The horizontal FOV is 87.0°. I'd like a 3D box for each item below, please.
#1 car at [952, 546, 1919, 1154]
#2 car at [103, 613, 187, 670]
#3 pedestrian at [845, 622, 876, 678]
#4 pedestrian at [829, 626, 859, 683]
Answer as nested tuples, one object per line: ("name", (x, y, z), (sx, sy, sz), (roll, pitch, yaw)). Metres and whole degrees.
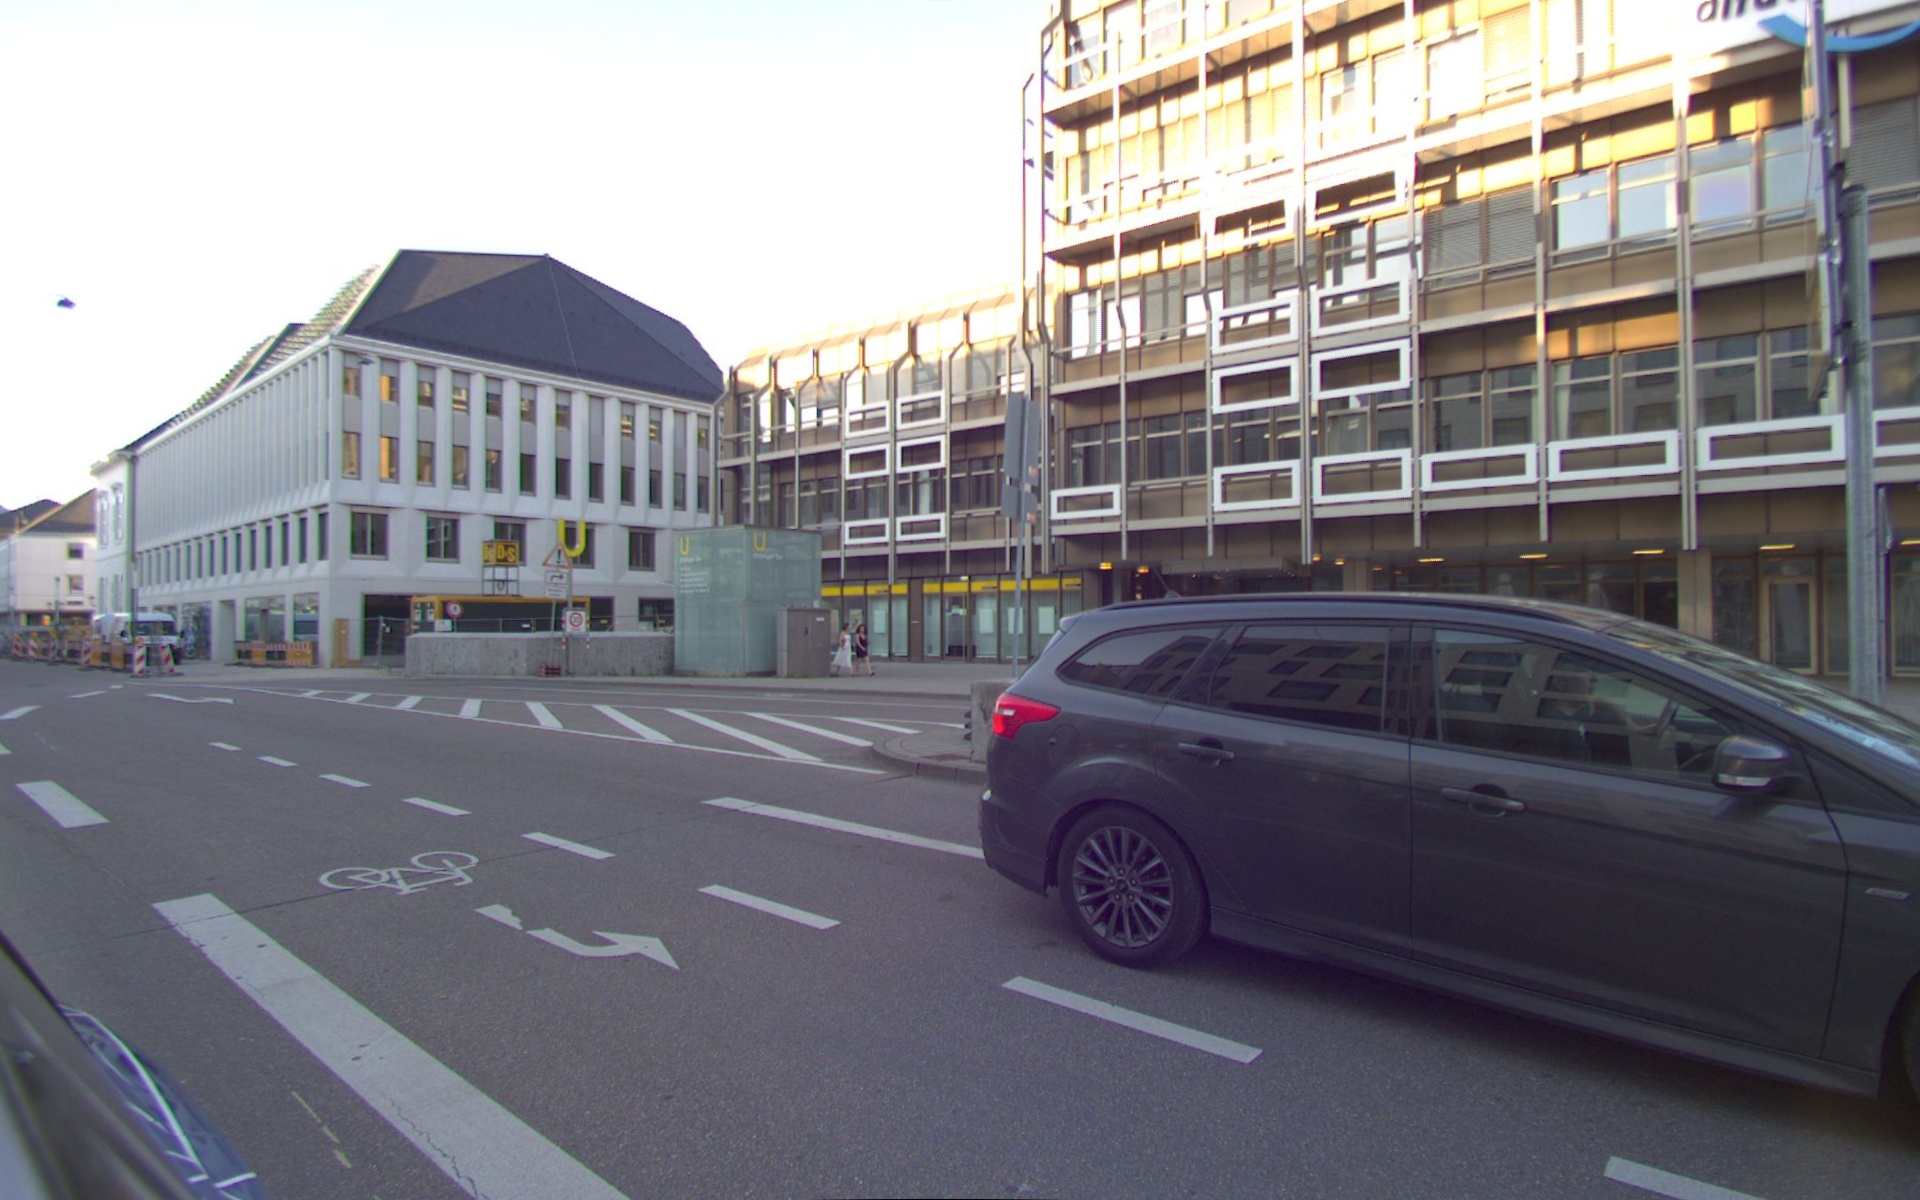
("car", (2.202, 0.620, 3.695), (4.377, 1.473, 1.740), (-2, -1, 40))
("car", (-38.836, 1.955, 48.162), (6.047, 2.575, 2.114), (-2, -3, 41))
("pedestrian", (-2.977, 1.501, 30.339), (0.702, 1.652, 0.608), (-2, -3, 41))
("pedestrian", (-3.410, 1.584, 29.788), (0.583, 1.652, 0.662), (-2, -3, 41))
